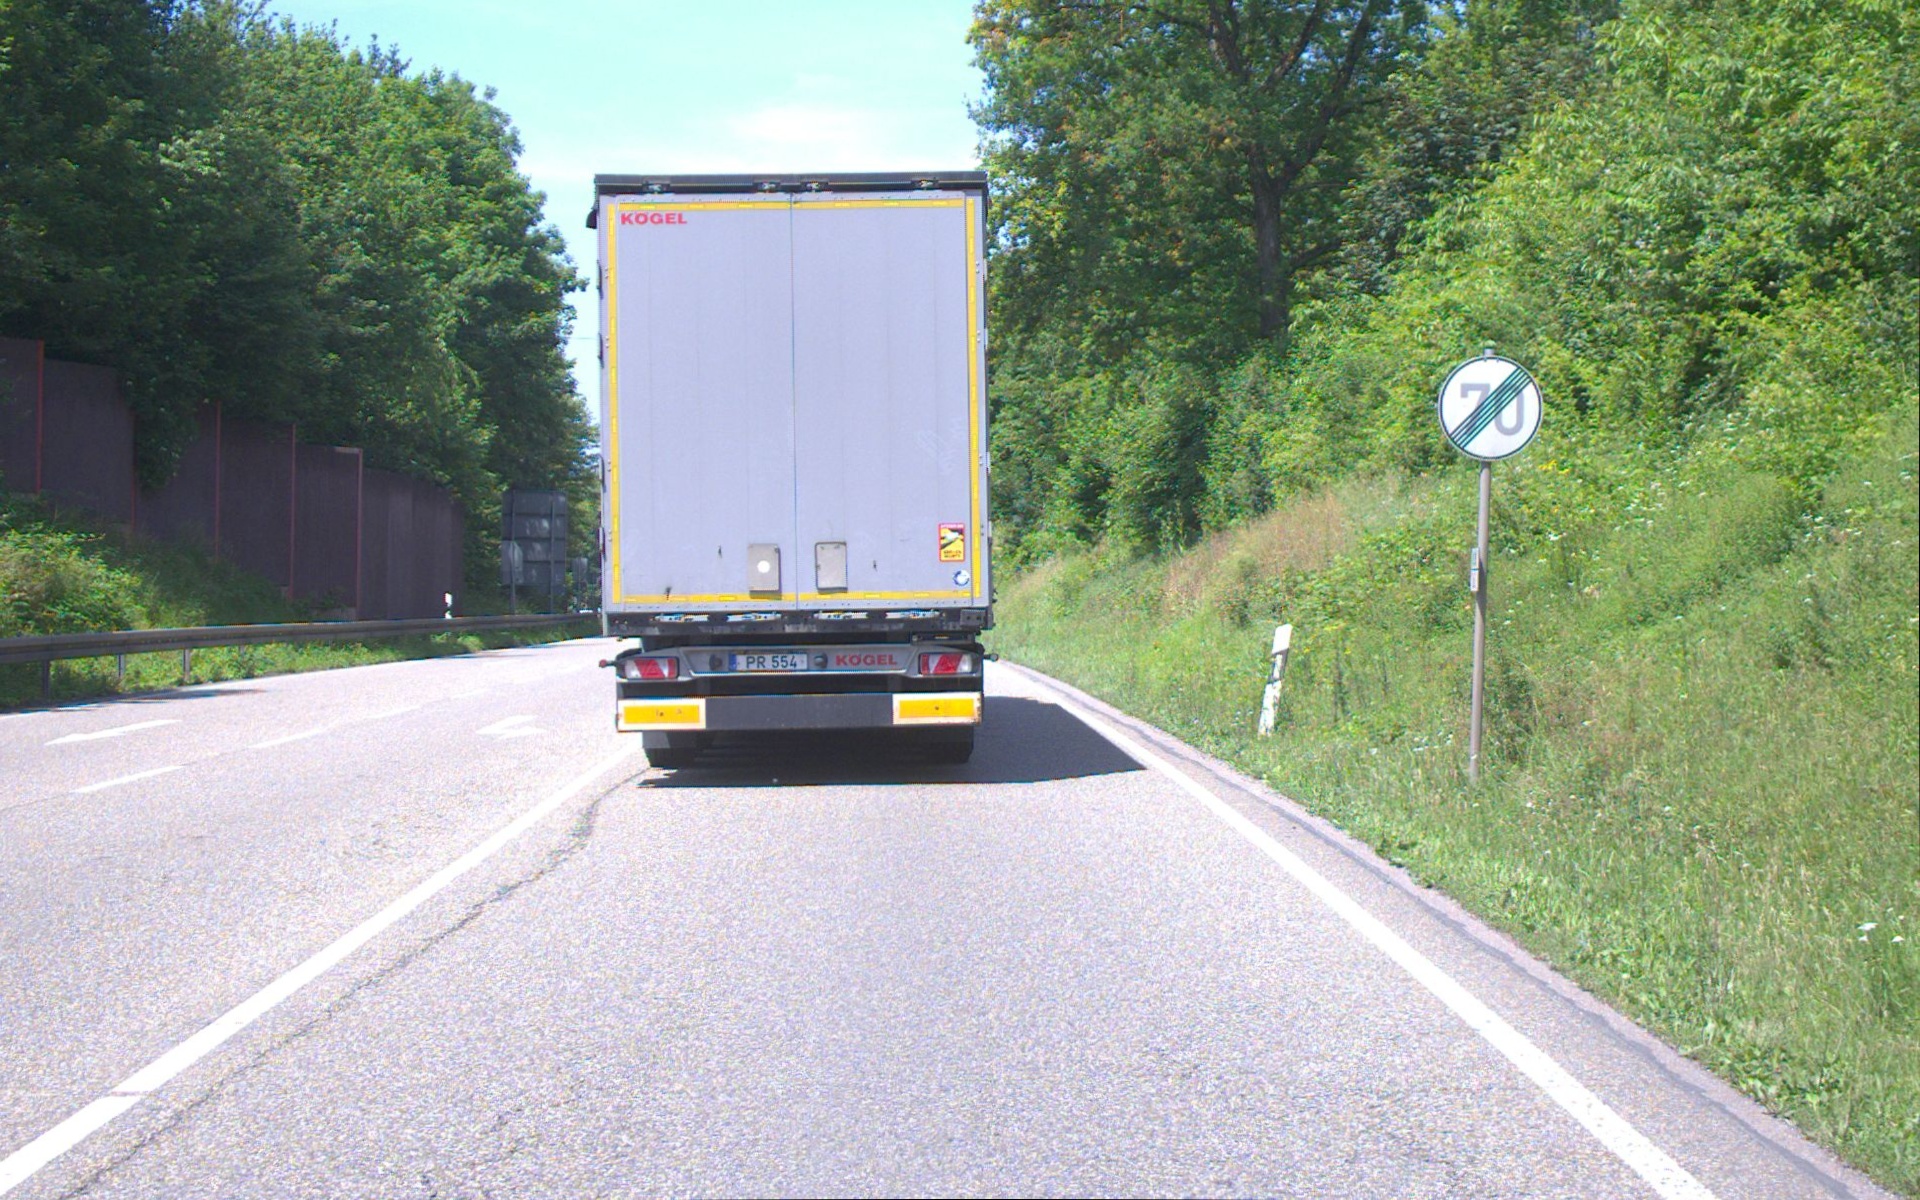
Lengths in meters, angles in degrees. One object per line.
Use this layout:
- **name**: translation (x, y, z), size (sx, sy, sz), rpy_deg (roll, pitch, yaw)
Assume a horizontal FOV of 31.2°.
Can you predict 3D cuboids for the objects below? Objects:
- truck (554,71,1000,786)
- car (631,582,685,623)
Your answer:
- **truck**: translation (-1.240, -1.182, 25.543), size (2.822, 4.588, 6.666), rpy_deg (-1, 1, -1)
- **car**: translation (-11.256, 0.084, 128.005), size (1.805, 1.430, 3.872), rpy_deg (-1, 1, -8)
